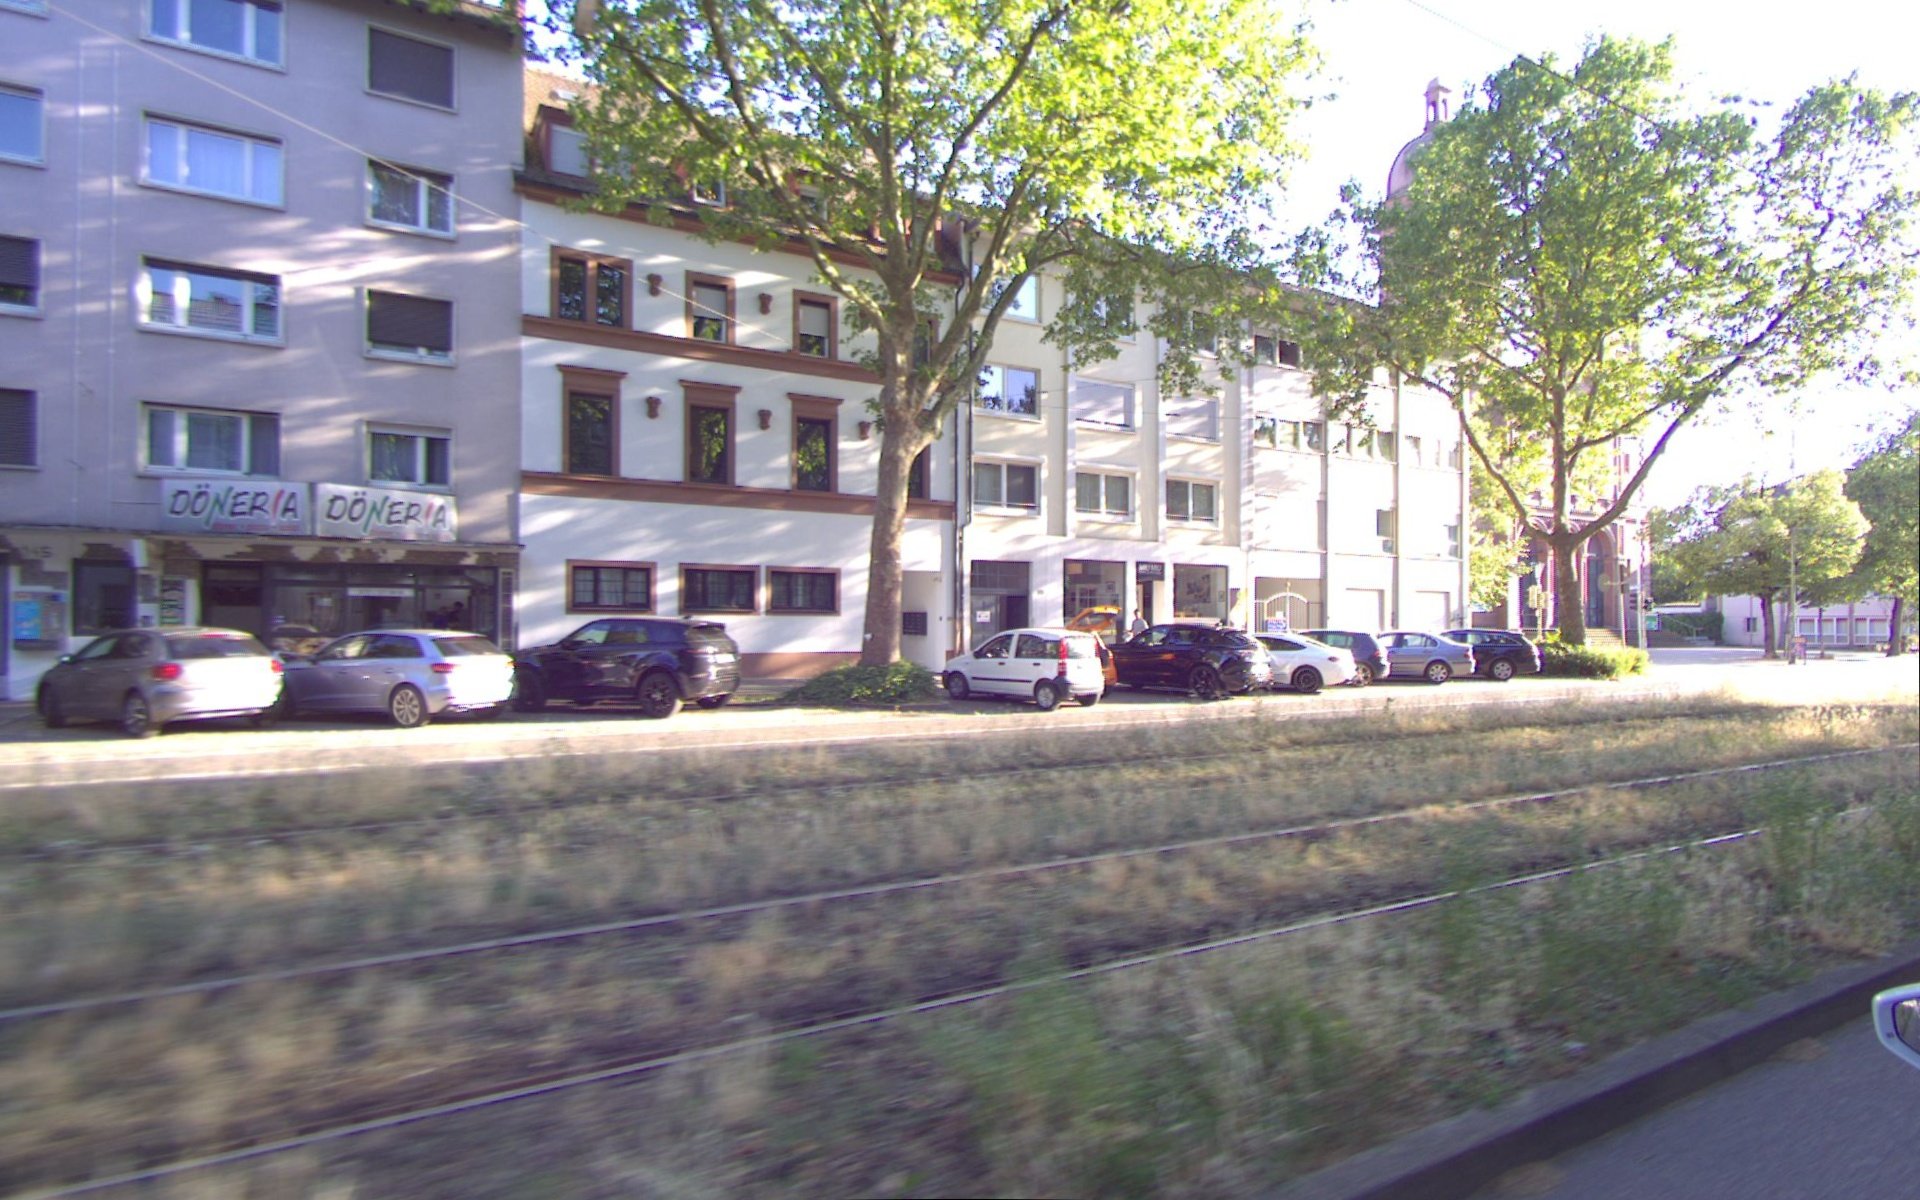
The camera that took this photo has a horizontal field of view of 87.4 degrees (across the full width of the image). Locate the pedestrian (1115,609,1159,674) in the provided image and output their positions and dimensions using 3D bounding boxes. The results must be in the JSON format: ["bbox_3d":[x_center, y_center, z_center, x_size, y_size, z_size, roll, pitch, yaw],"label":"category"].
[{"bbox_3d":[5.338,1.238,30.359,0.941,1.925,0.894,1,0,-33],"label":"pedestrian"}]

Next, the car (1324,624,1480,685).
[{"bbox_3d":[12.491,1.504,28.648,3.921,1.460,1.722,2,1,20],"label":"car"}]

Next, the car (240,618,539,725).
[{"bbox_3d":[-9.008,1.062,15.957,3.919,1.404,1.913,1,0,16],"label":"car"}]

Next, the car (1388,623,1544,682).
[{"bbox_3d":[15.126,1.532,30.246,3.920,1.499,1.818,2,1,18],"label":"car"}]

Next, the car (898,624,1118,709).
[{"bbox_3d":[0.929,1.299,20.712,4.291,1.468,1.654,1,-1,34],"label":"car"}]

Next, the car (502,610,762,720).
[{"bbox_3d":[-5.709,1.051,17.576,3.921,1.683,2.000,1,0,20],"label":"car"}]

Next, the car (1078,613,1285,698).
[{"bbox_3d":[5.126,1.293,23.457,4.292,1.809,1.988,-2,-3,35],"label":"car"}]

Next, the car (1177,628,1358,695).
[{"bbox_3d":[7.725,1.481,25.260,4.125,1.351,1.721,2,1,25],"label":"car"}]

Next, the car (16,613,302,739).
[{"bbox_3d":[-11.622,0.997,14.553,3.925,1.442,1.754,2,1,27],"label":"car"}]

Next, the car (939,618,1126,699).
[{"bbox_3d":[1.579,1.253,22.734,3.940,1.499,1.769,2,1,41],"label":"car"}]

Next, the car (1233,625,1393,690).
[{"bbox_3d":[9.453,1.507,27.126,3.920,1.460,1.802,2,1,18],"label":"car"}]
